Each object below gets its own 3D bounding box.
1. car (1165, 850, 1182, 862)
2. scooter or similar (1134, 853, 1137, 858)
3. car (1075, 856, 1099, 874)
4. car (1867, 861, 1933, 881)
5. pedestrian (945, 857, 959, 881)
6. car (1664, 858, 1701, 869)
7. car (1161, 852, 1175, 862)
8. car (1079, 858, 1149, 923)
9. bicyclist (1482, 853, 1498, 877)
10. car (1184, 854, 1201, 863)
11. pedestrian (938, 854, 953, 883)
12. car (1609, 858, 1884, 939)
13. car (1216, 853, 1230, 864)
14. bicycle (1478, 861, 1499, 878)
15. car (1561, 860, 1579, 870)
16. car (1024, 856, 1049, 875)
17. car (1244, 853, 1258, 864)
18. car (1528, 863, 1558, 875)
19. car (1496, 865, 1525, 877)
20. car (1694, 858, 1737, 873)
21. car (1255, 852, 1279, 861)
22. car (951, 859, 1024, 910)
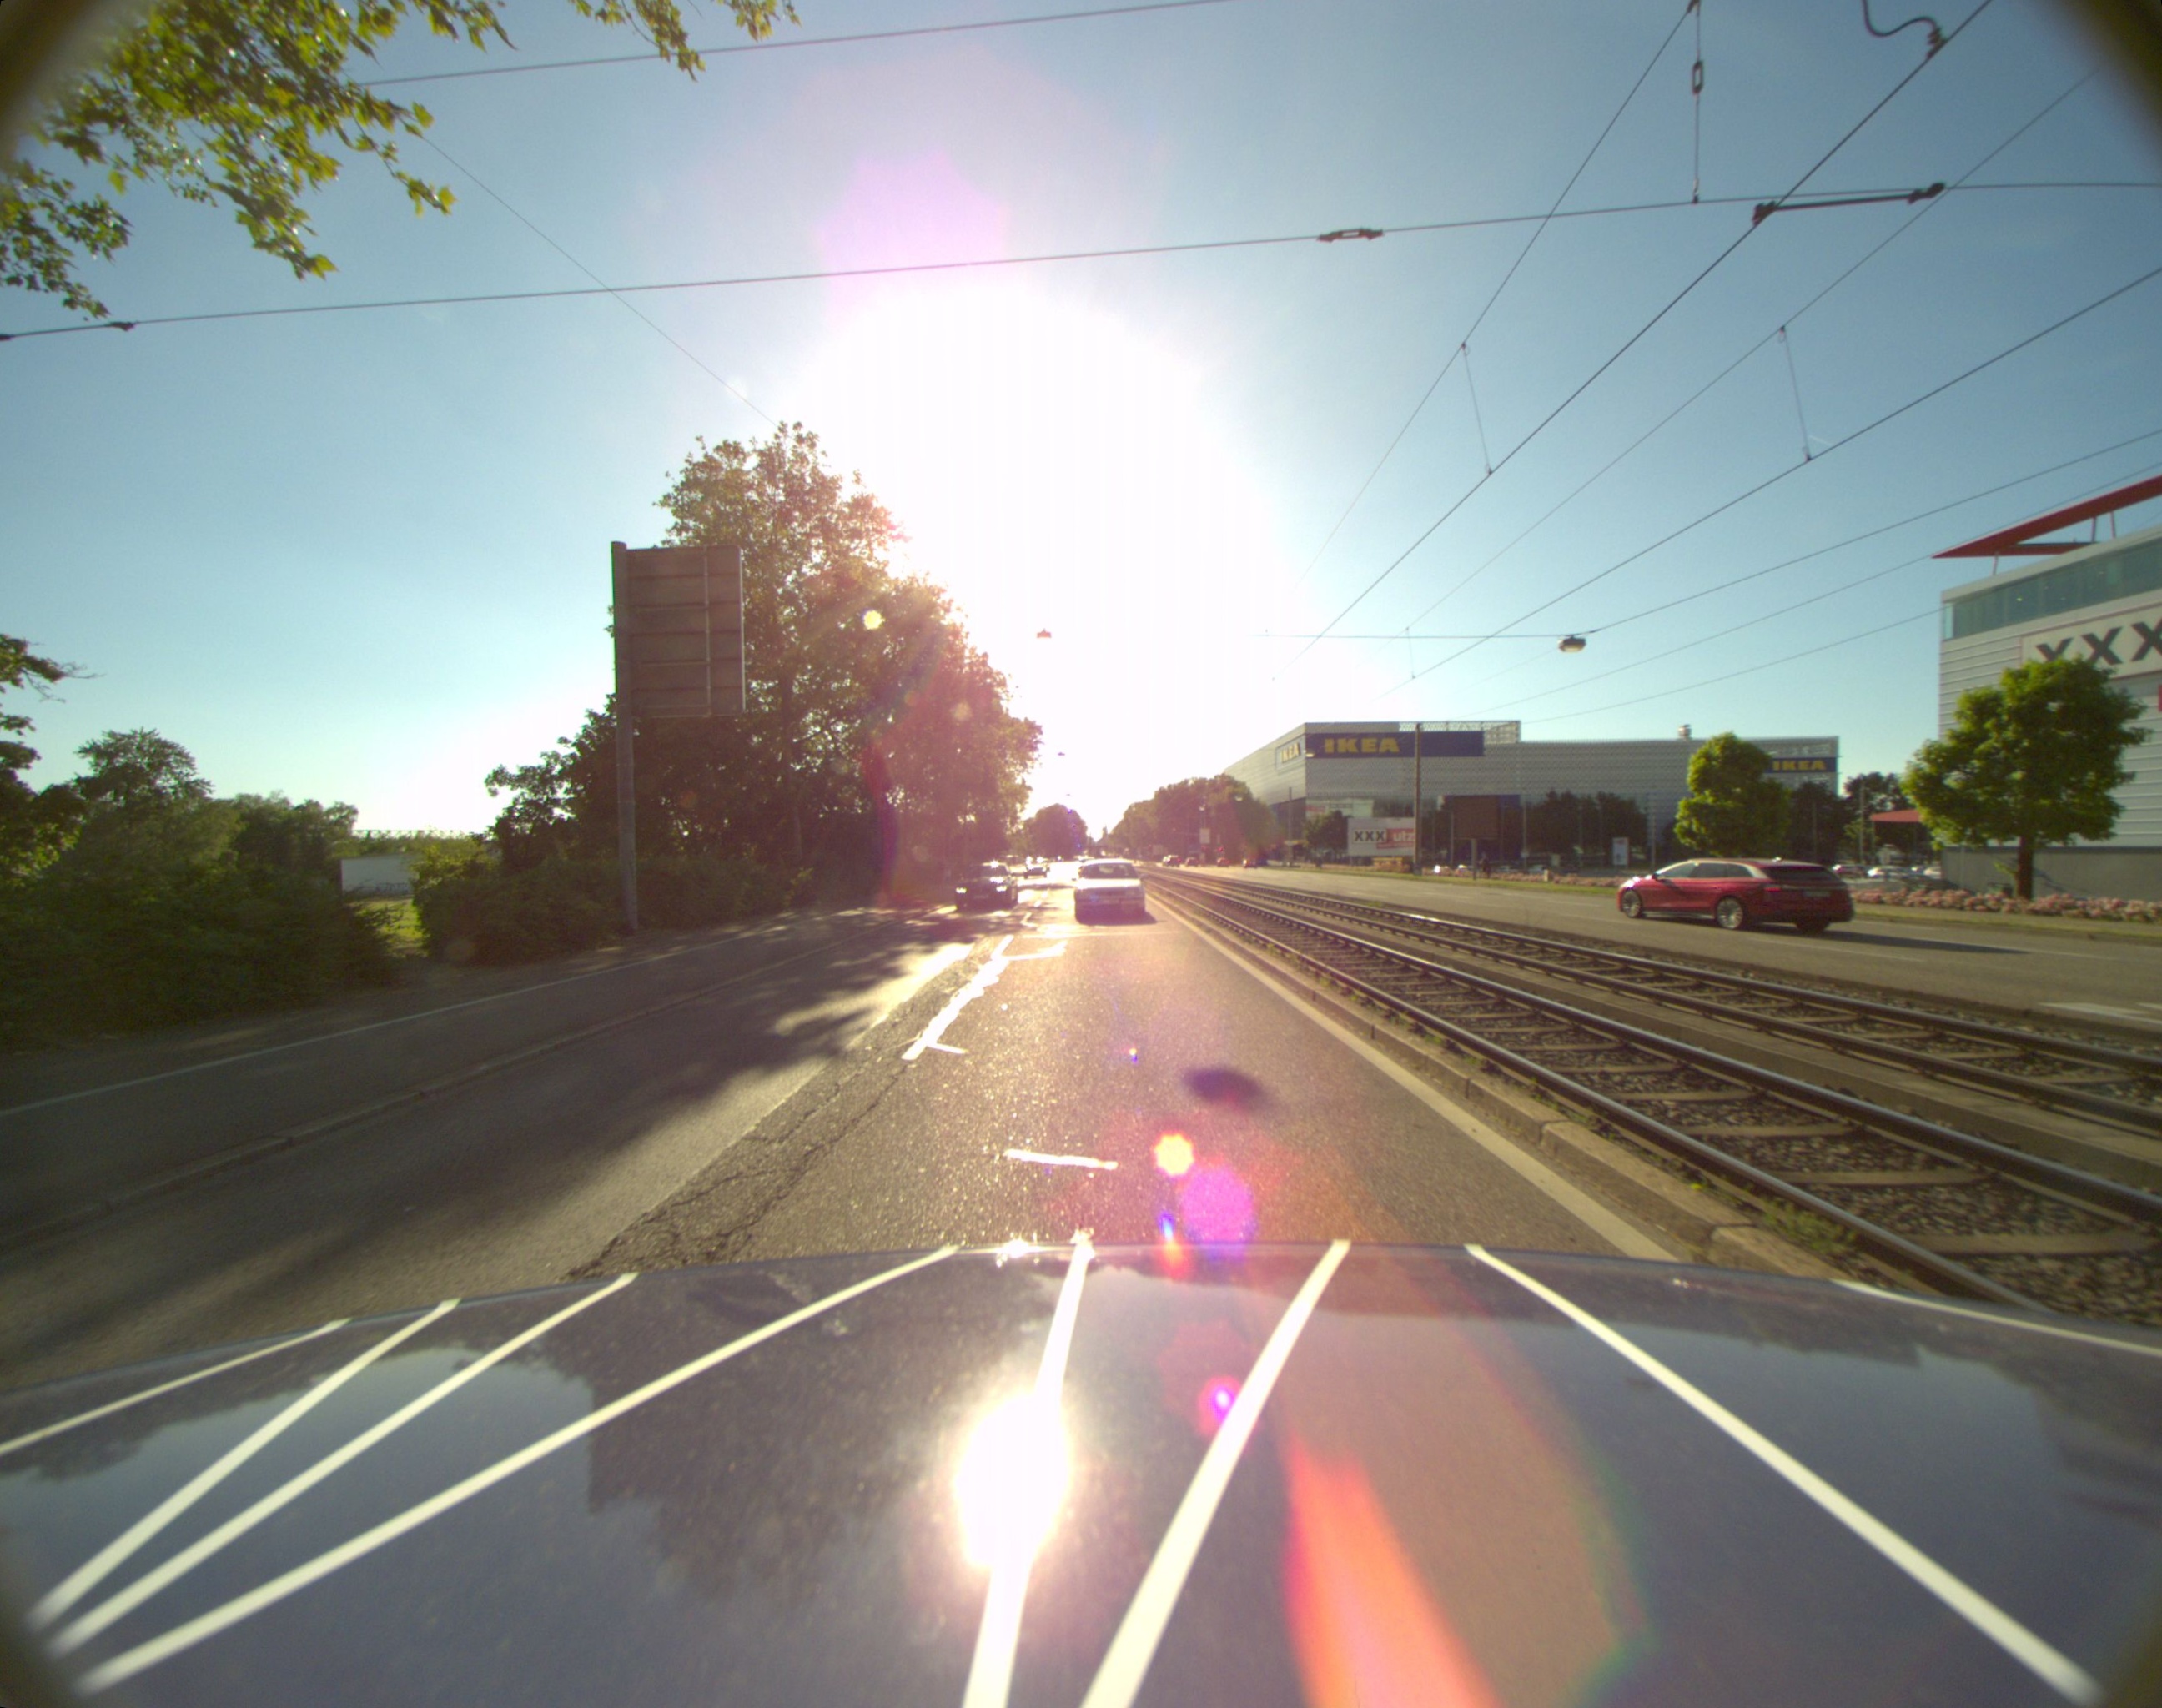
[{"bbox_3d":[13.499,0.251,110.845,1.998,1.646,4.658,1,0,1],"label":"car"},{"bbox_3d":[14.603,0.364,205.019,0.666,1.227,1.372,-1,0,0],"label":"scooter or similar"},{"bbox_3d":[0.586,0.932,65.596,1.871,1.422,3.831,-3,0,2],"label":"car"},{"bbox_3d":[78.383,1.603,72.787,1.926,1.692,4.000,-3,0,0],"label":"car"},{"bbox_3d":[-7.956,0.935,46.779,0.725,1.472,0.722,0,1,0],"label":"pedestrian"},{"bbox_3d":[88.626,1.441,112.062,1.672,1.543,4.438,-3,0,-4],"label":"car"},{"bbox_3d":[13.548,0.468,117.964,1.788,1.439,4.108,1,0,1],"label":"car"},{"bbox_3d":[0.800,0.859,19.596,1.602,1.440,3.799,-1,1,1],"label":"car"},{"bbox_3d":[28.407,0.740,52.795,0.662,1.614,0.801,-3,0,10],"label":"bicyclist"},{"bbox_3d":[17.235,0.688,117.377,1.861,1.452,4.137,-1,0,-1],"label":"car"},{"bbox_3d":[-8.035,0.853,45.038,0.724,1.698,0.813,0,1,0],"label":"pedestrian"},{"bbox_3d":[14.812,0.896,17.422,2.044,1.494,4.887,-1,1,1],"label":"car"},{"bbox_3d":[21.520,0.688,115.464,1.938,1.468,4.134,2,1,9],"label":"car"},{"bbox_3d":[28.471,1.070,53.074,0.662,1.144,2.023,-3,0,10],"label":"bicycle"},{"bbox_3d":[82.899,1.873,128.828,1.904,1.559,4.254,-3,0,25],"label":"car"},{"bbox_3d":[-3.544,0.889,60.809,1.857,1.415,3.979,-2,0,-3],"label":"car"},{"bbox_3d":[25.627,0.677,114.683,1.823,1.633,4.005,1,0,15],"label":"car"},{"bbox_3d":[69.496,2.265,114.335,1.935,1.583,3.999,-3,0,-3],"label":"car"},{"bbox_3d":[64.473,2.515,114.079,1.935,1.734,3.999,-3,0,-3],"label":"car"},{"bbox_3d":[87.540,1.578,104.960,4.219,1.789,1.830,-3,0,28],"label":"car"},{"bbox_3d":[35.533,0.511,145.217,4.252,1.489,2.016,2,1,5],"label":"car"},{"bbox_3d":[-3.059,0.955,25.759,1.870,1.459,4.585,-2,1,0],"label":"car"}]
